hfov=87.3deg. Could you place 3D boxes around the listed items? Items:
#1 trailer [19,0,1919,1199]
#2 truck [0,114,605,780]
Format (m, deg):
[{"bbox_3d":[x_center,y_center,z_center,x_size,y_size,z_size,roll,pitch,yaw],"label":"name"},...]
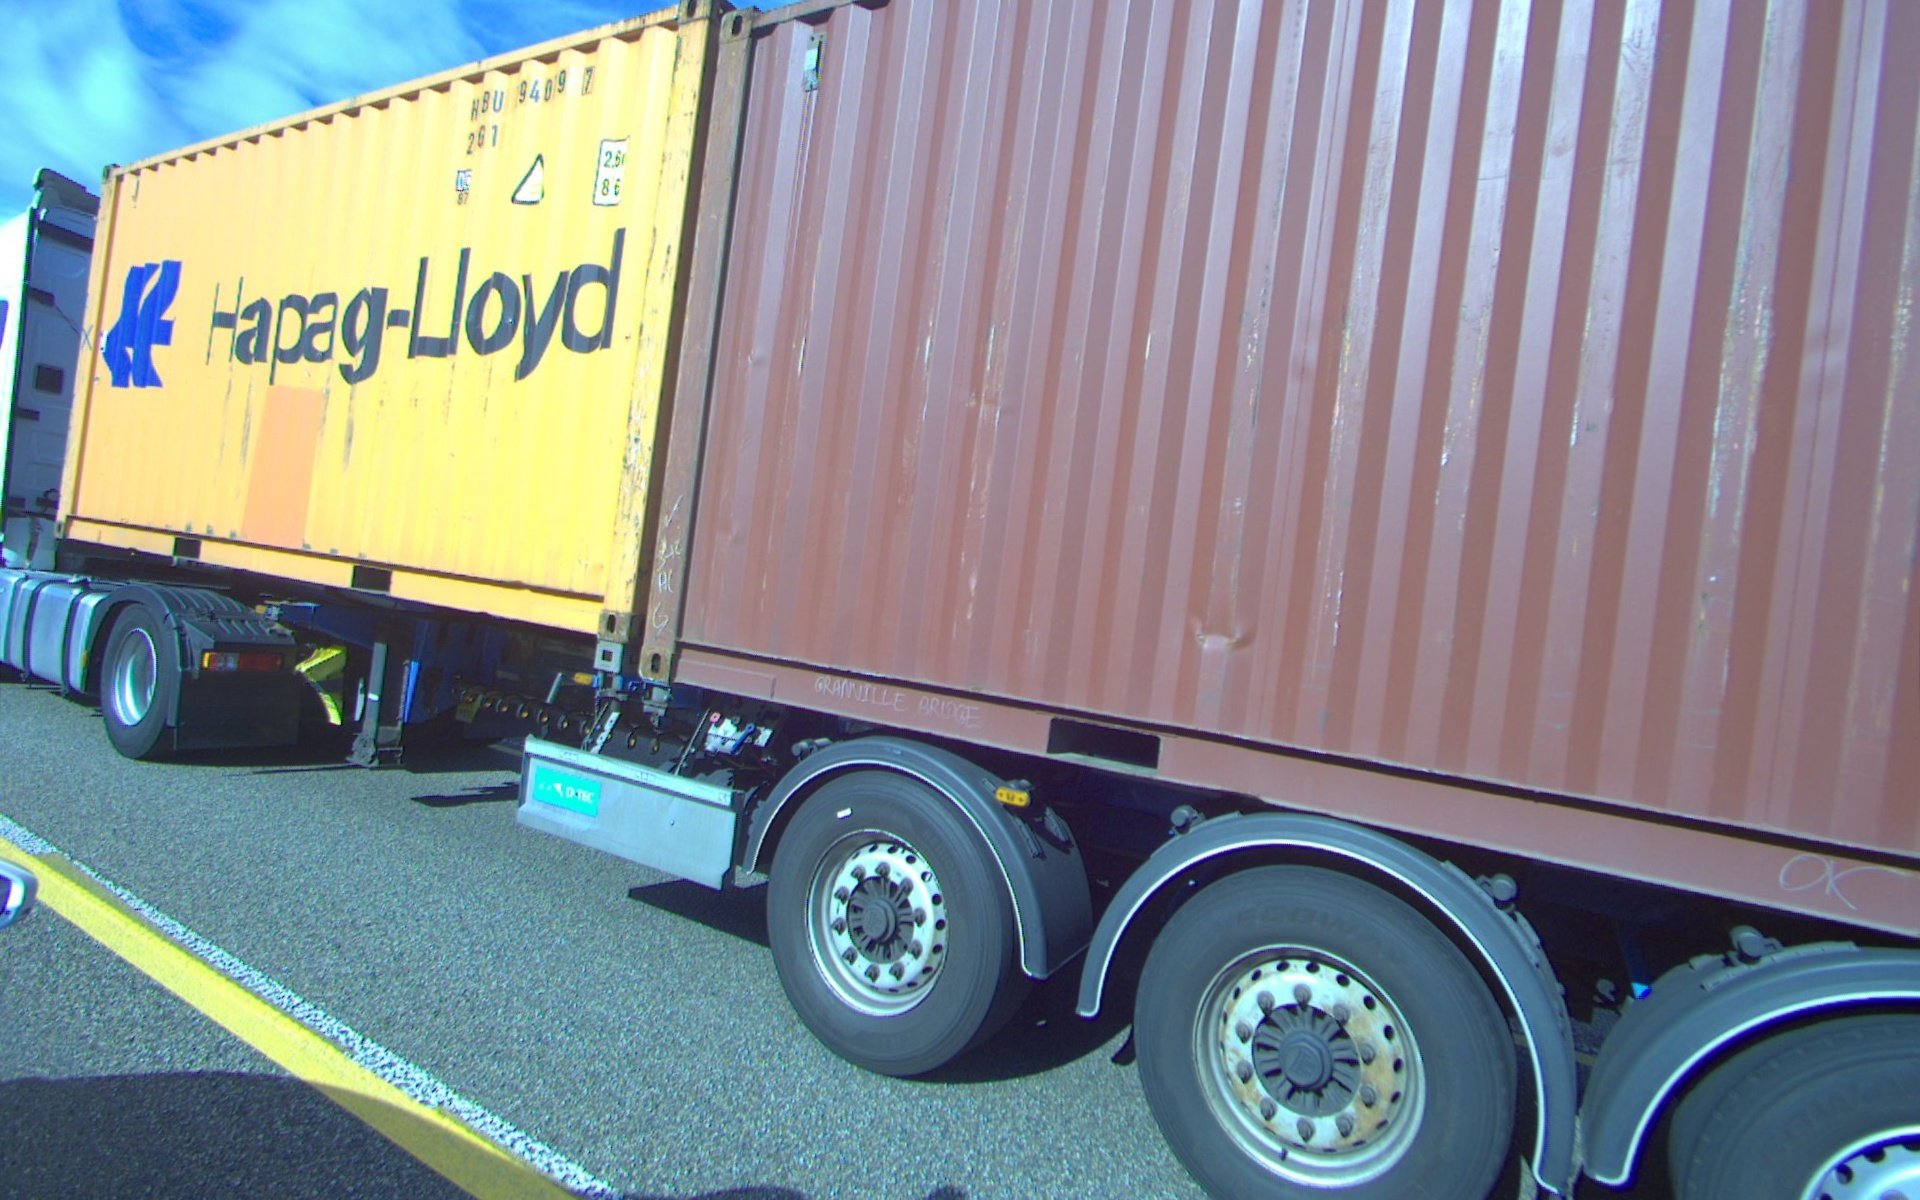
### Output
[{"bbox_3d":[-0.547,-0.395,4.922,11.932,3.819,2.476,7,-1,31],"label":"trailer"},{"bbox_3d":[-6.068,-1.027,8.260,5.693,3.825,2.500,6,-1,31],"label":"truck"}]
